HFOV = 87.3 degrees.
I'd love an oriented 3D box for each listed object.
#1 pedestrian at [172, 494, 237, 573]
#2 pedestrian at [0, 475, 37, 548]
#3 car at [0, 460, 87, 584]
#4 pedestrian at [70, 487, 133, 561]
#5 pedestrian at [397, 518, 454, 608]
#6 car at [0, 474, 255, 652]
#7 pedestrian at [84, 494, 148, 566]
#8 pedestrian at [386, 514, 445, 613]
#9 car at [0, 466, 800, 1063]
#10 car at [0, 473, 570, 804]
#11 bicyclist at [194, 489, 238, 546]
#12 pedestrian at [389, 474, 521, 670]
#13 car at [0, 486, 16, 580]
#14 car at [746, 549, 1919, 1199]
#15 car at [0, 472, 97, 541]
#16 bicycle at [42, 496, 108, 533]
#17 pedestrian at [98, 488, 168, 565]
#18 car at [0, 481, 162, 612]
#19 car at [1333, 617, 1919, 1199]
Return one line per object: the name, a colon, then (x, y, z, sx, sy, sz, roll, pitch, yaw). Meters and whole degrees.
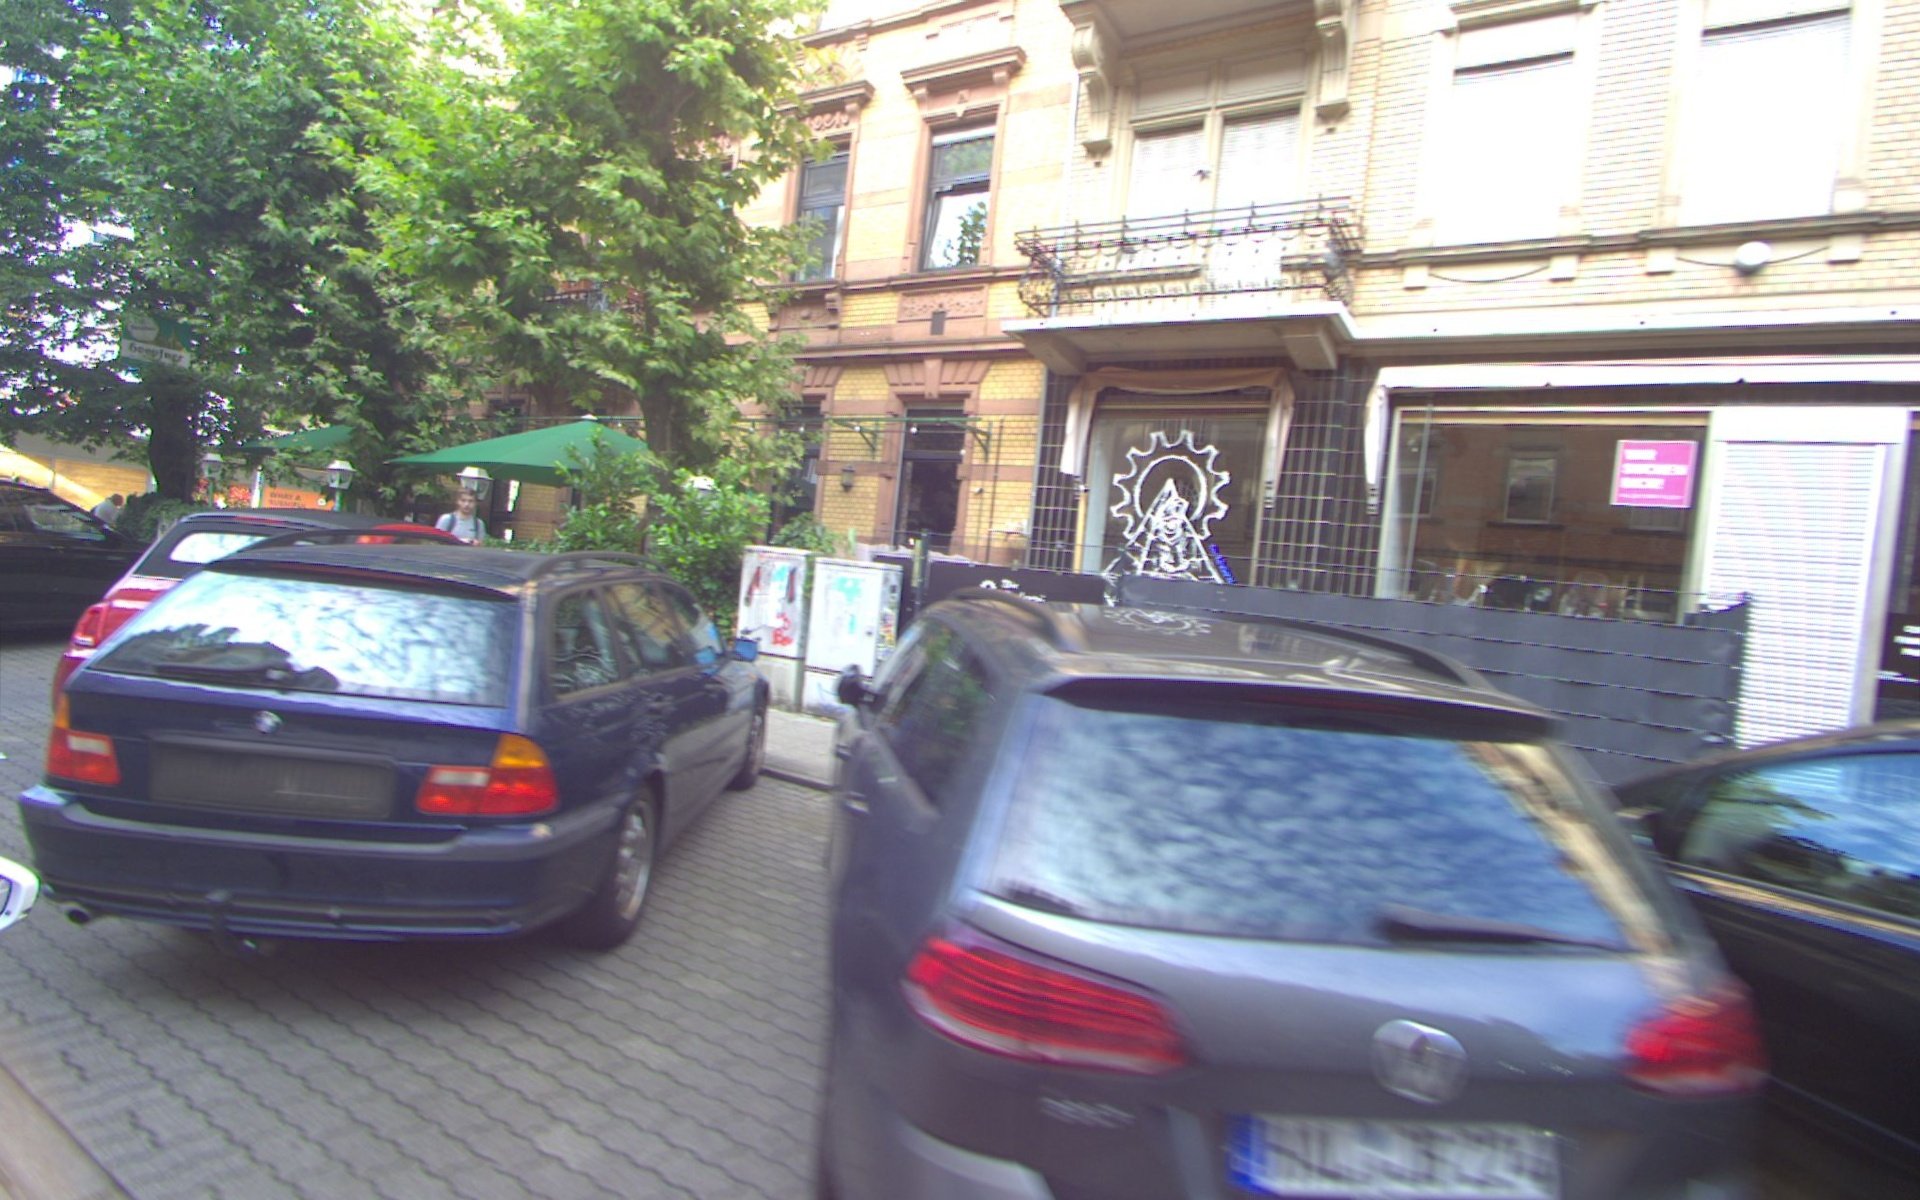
pedestrian: (-14.708, -1.289, 19.580, 0.745, 1.425, 0.673, 7, 2, 28)
pedestrian: (-24.028, -2.247, 25.633, 0.765, 1.761, 0.627, 7, 2, 44)
car: (-13.893, -1.111, 12.604, 1.787, 1.667, 4.351, 6, 3, 6)
pedestrian: (-17.830, -1.570, 20.897, 0.539, 1.410, 0.758, 7, 1, 27)
pedestrian: (-9.974, -0.674, 18.774, 0.560, 1.590, 0.629, 7, 2, 28)
car: (-9.205, -0.421, 9.079, 2.018, 1.476, 4.764, 7, 2, 4)
pedestrian: (-17.320, -1.436, 20.650, 0.586, 1.360, 0.758, 7, 1, 27)
pedestrian: (-9.521, -0.634, 17.595, 0.554, 1.665, 0.646, 7, 4, 27)
car: (-2.049, 0.369, 4.977, 1.845, 1.484, 4.461, 7, 2, -3)
car: (-4.164, 0.146, 6.932, 1.710, 1.504, 3.712, 6, 2, -6)
bicyclist: (-23.820, -2.639, 32.208, 1.008, 1.690, 0.933, 5, 2, -39)
pedestrian: (-5.187, -0.270, 10.349, 0.711, 1.902, 0.839, 7, 2, 36)
car: (-16.042, -1.161, 14.069, 1.736, 1.475, 3.944, 6, 0, 4)
car: (0.377, 0.707, 3.513, 1.856, 1.497, 4.457, 6, 3, -8)
car: (-28.307, -2.873, 28.922, 4.774, 1.748, 2.032, 6, 3, -19)
bicycle: (-31.439, -3.019, 35.750, 1.660, 1.064, 0.456, 6, 1, -19)
pedestrian: (-16.716, -1.468, 20.341, 0.690, 1.425, 0.798, 7, 1, 28)
car: (-11.750, -0.708, 11.136, 1.906, 1.475, 4.416, 6, 0, 7)
car: (2.777, 0.976, 2.307, 1.721, 1.478, 3.985, 6, 1, -9)
